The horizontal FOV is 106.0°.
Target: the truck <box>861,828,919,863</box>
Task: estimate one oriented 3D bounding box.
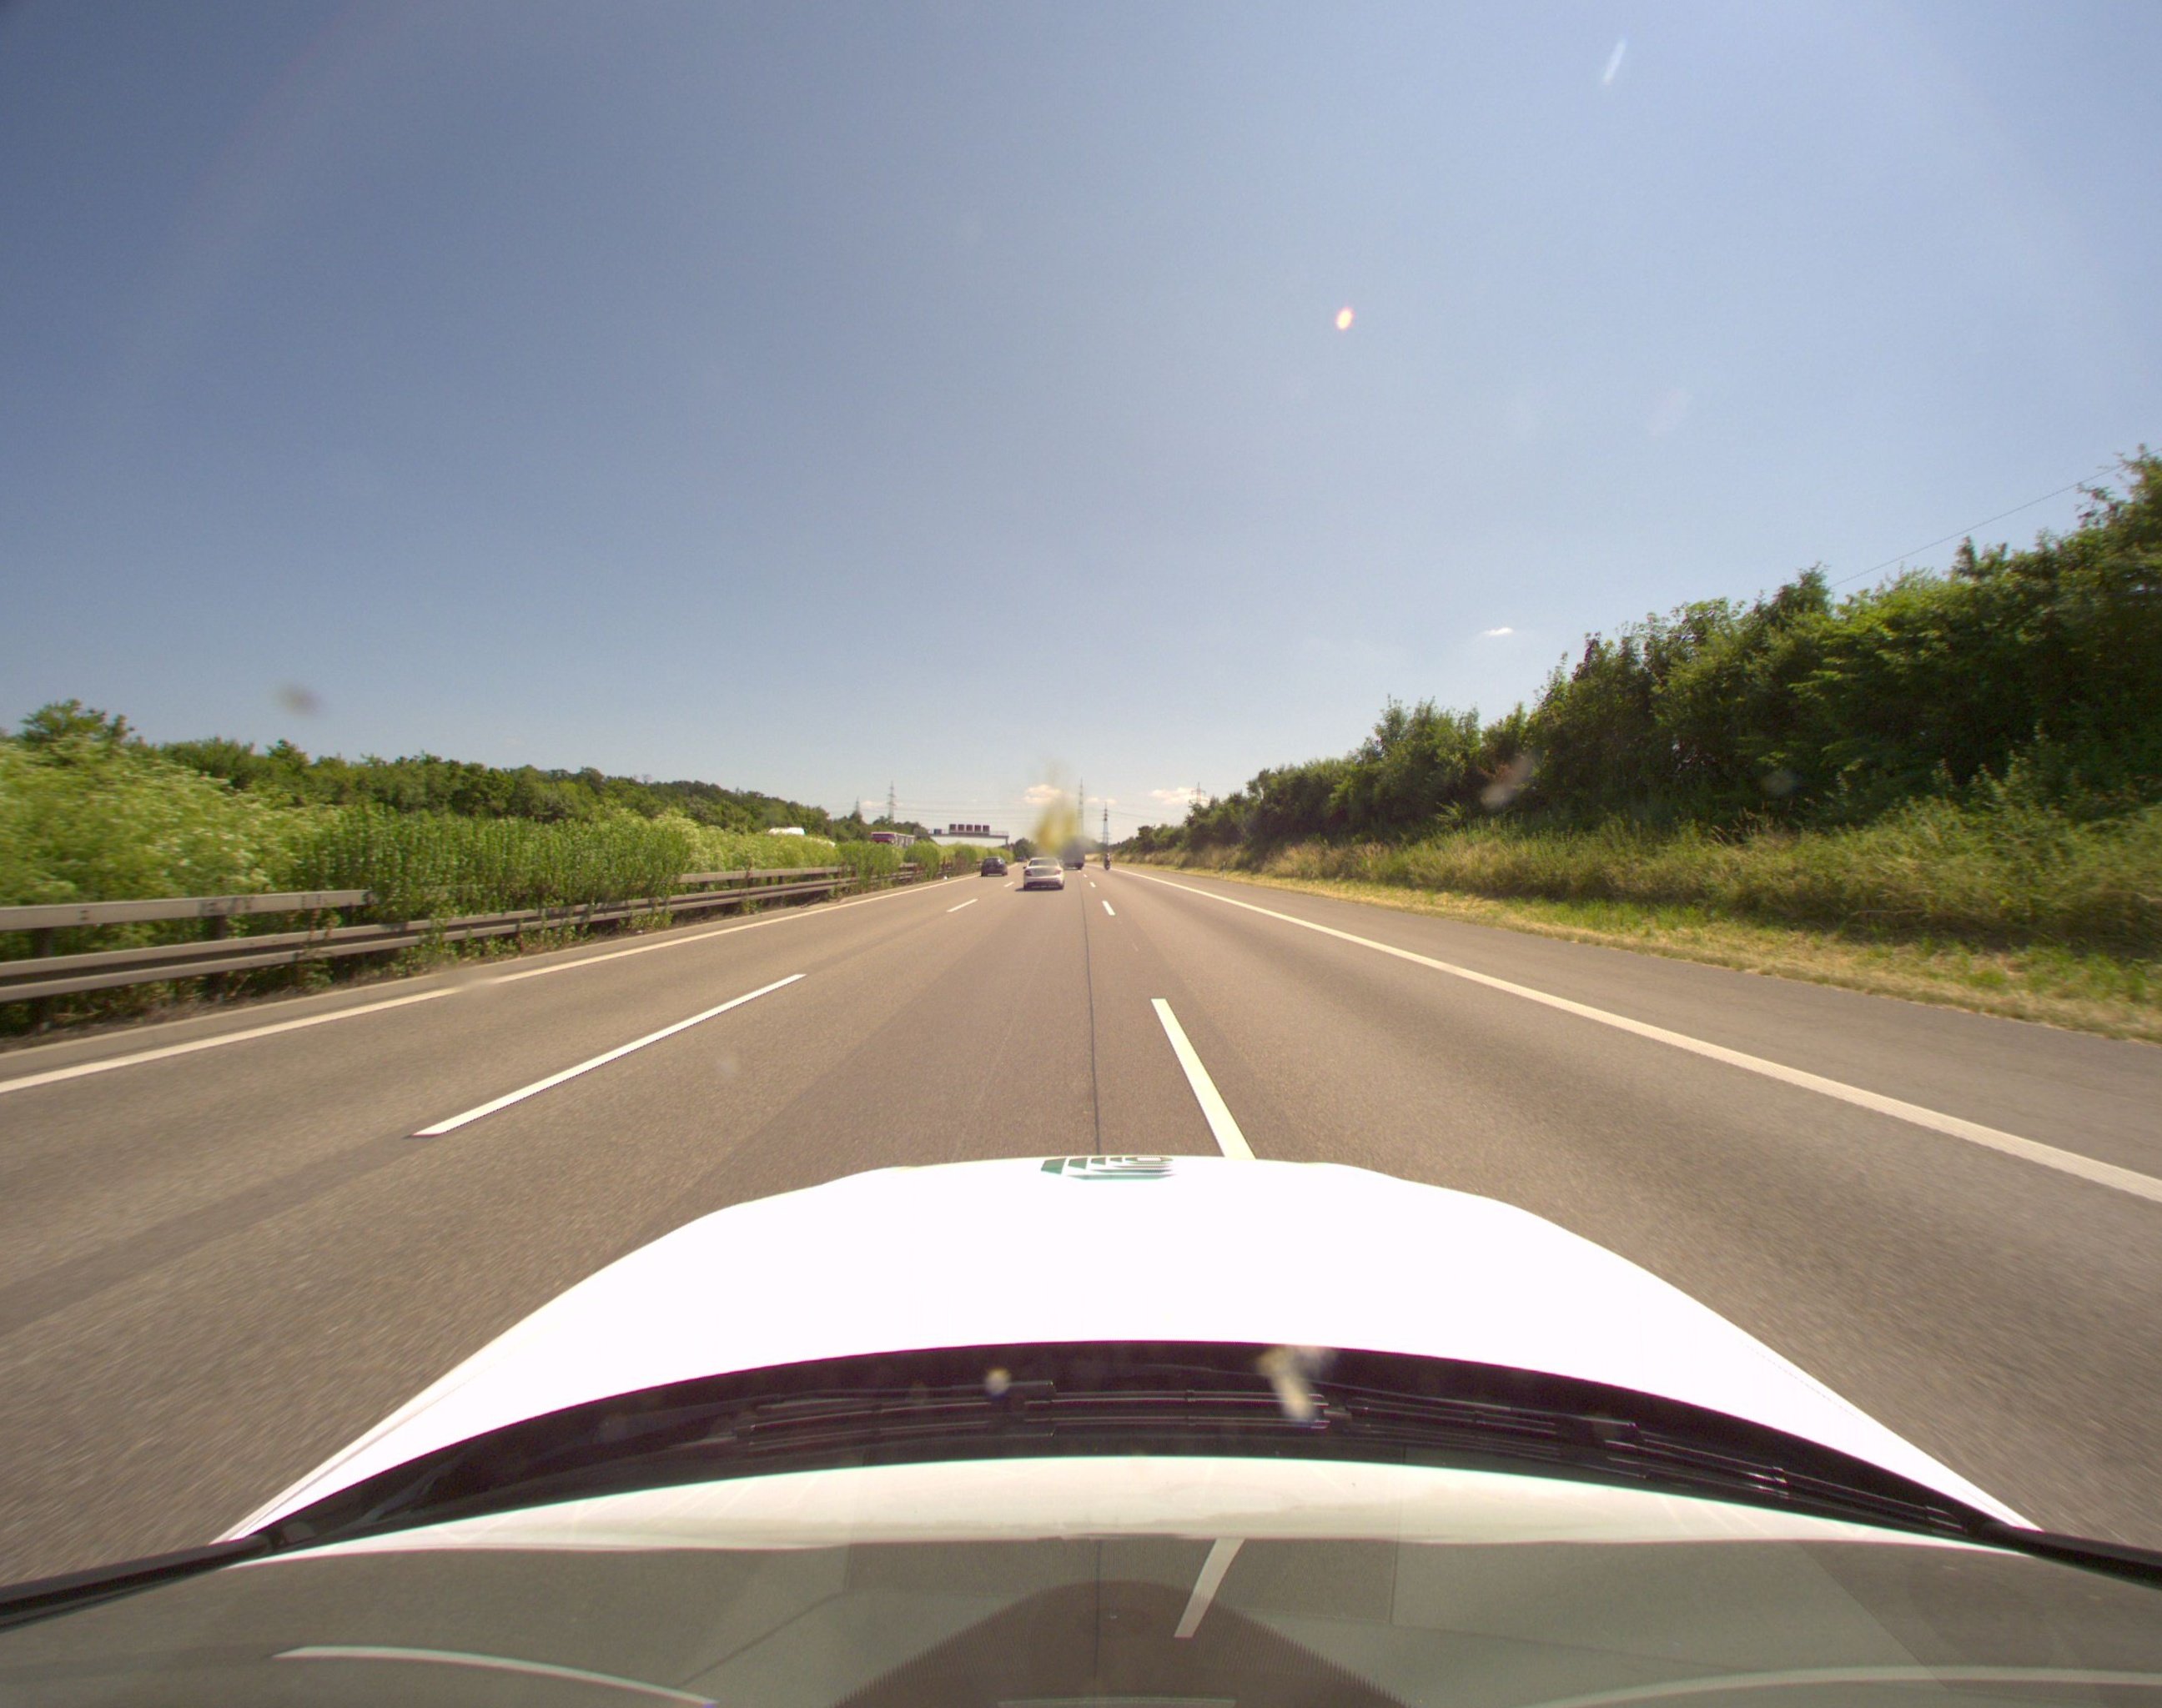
[{"bbox_3d":[-22.001,-0.910,95.216,3.222,3.611,18.511,2,0,-3],"label":"truck"}]

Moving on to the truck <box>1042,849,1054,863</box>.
[{"bbox_3d":[-9.991,0.629,246.762,3.477,3.912,7.280,0,-1,-3],"label":"truck"}]

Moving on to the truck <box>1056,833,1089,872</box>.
[{"bbox_3d":[-0.958,-0.112,86.722,3.212,3.924,9.055,0,0,-1],"label":"truck"}]

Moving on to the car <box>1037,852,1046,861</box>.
[{"bbox_3d":[-8.839,0.635,183.677,1.896,1.925,3.997,-1,0,-2],"label":"car"}]

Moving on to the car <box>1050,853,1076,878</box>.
[{"bbox_3d":[-1.513,0.904,67.788,1.989,2.013,3.995,-1,0,-3],"label":"car"}]

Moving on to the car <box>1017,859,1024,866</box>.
[{"bbox_3d":[-17.880,2.575,242.452,1.989,1.860,3.996,-1,0,-3],"label":"car"}]

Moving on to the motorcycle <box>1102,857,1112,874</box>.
[{"bbox_3d":[2.640,1.140,81.828,0.808,1.607,1.779,0,-1,-4],"label":"motorcycle"}]

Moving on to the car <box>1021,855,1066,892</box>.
[{"bbox_3d":[-1.610,0.835,36.518,1.814,1.540,3.914,-1,0,0],"label":"car"}]

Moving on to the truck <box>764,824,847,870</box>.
[{"bbox_3d":[-22.940,-0.550,68.971,2.452,3.456,14.676,-1,0,-2],"label":"truck"}]

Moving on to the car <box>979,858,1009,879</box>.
[{"bbox_3d":[-6.557,1.075,61.786,1.750,1.429,4.000,-1,0,0],"label":"car"}]

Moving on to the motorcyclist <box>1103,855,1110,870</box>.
[{"bbox_3d":[2.574,0.880,81.776,0.571,1.479,0.699,-1,0,-5],"label":"motorcyclist"}]
